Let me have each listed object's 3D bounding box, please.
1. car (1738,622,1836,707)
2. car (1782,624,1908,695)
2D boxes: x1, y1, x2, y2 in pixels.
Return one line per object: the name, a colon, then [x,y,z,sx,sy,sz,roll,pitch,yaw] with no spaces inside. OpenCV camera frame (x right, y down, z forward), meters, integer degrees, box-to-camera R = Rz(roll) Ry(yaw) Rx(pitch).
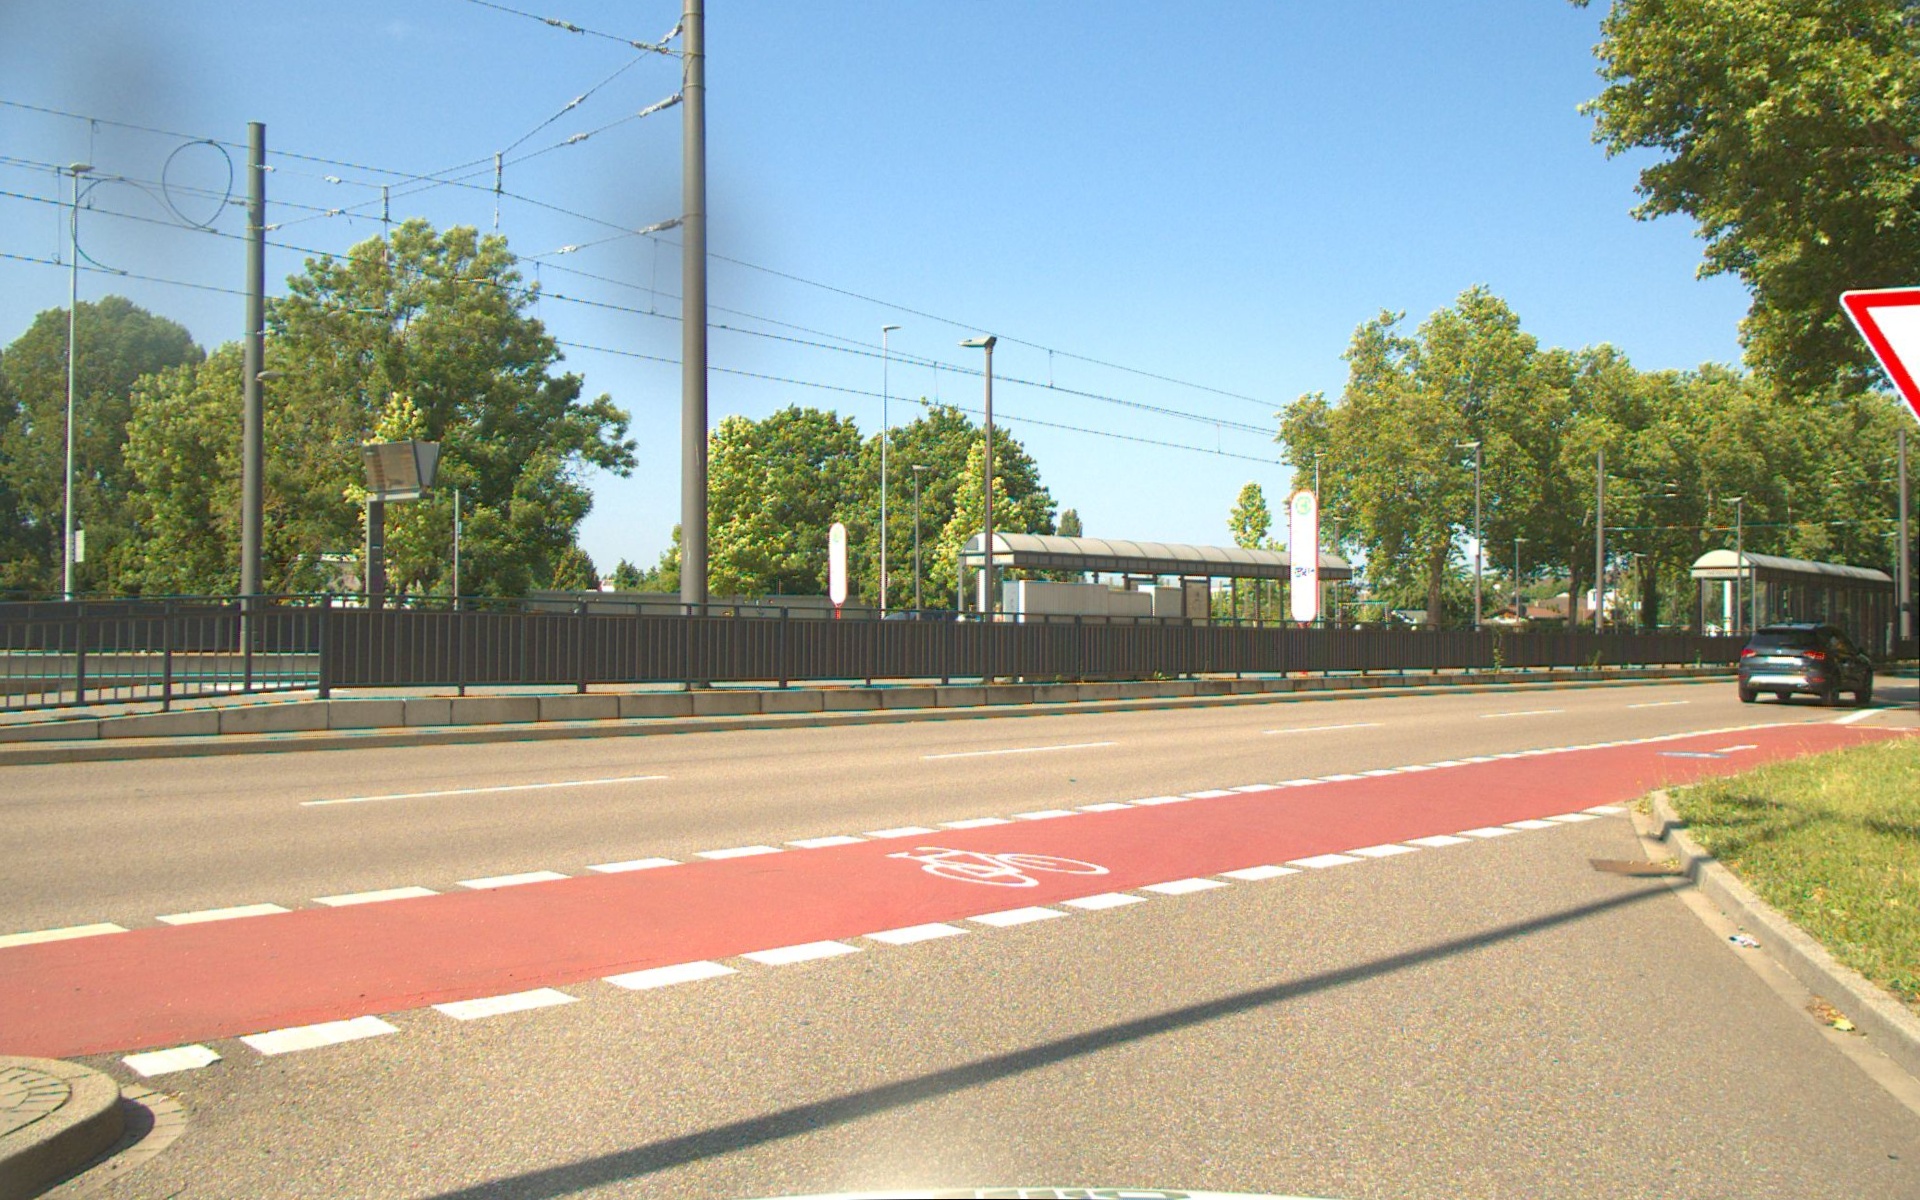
car: [16.295,1.264,32.545,1.638,1.550,3.372,1,-2,28]
car: [22.867,1.517,42.679,1.899,1.743,4.134,-2,-3,42]
